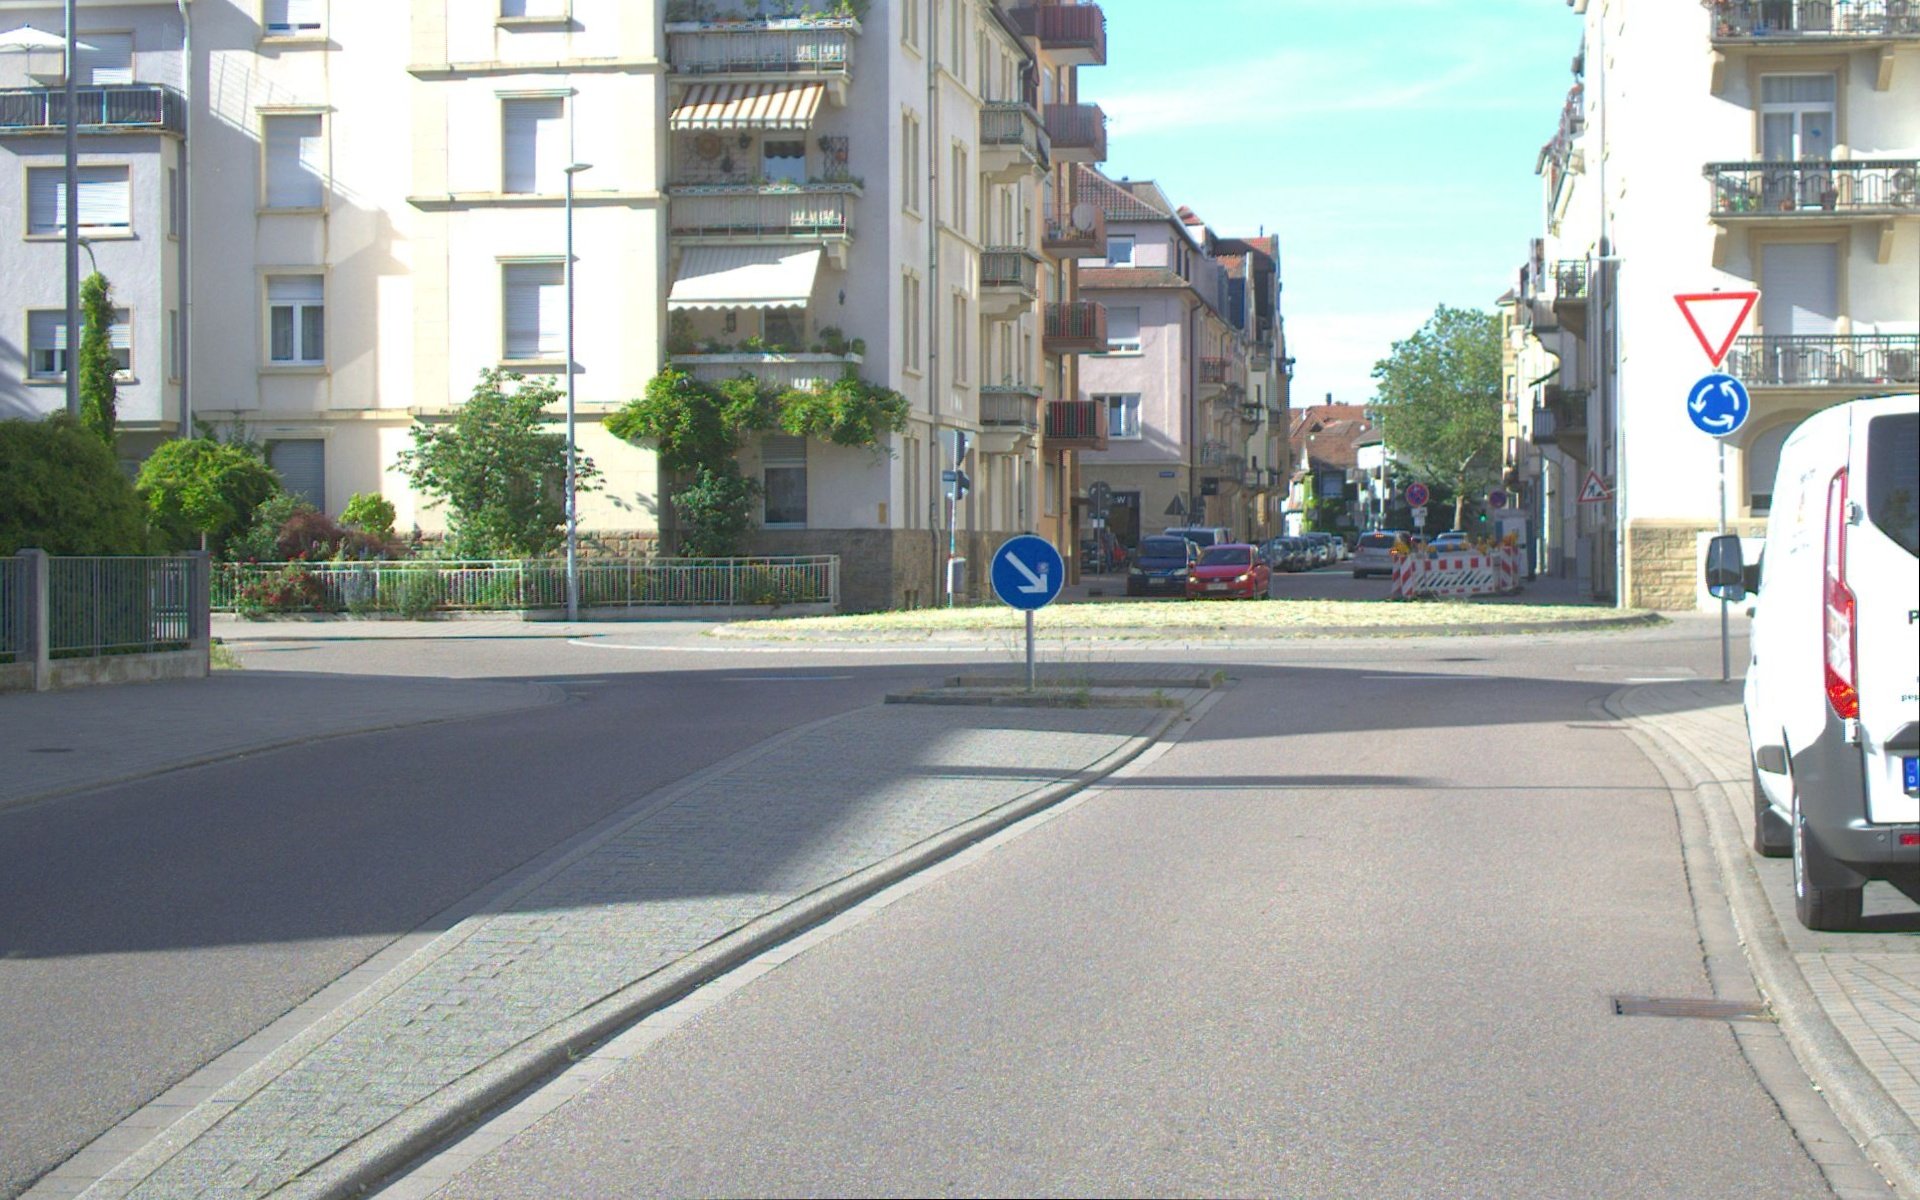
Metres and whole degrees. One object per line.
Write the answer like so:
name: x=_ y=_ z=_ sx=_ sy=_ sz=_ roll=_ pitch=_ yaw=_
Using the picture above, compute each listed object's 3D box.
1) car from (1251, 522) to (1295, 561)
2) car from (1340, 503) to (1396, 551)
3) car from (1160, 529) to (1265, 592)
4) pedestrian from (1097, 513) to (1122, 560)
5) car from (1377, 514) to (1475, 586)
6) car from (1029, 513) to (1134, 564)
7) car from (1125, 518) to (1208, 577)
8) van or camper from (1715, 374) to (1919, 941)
car: x=13.295 y=-2.501 z=146.070 sx=1.635 sy=1.650 sz=3.670 roll=0 pitch=1 yaw=9
car: x=14.897 y=-2.678 z=125.574 sx=1.994 sy=1.733 sz=3.999 roll=0 pitch=1 yaw=7
car: x=6.055 y=-0.924 z=82.027 sx=1.742 sy=1.349 sz=3.666 roll=-1 pitch=-1 yaw=17
pedestrian: x=5.513 y=-2.350 z=126.973 sx=0.800 sy=1.744 sz=0.844 roll=0 pitch=1 yaw=10
car: x=12.166 y=-1.326 z=89.481 sx=2.432 sy=1.805 sz=4.722 roll=0 pitch=1 yaw=9
car: x=4.894 y=-2.485 z=138.357 sx=3.903 sy=2.007 sz=1.762 roll=0 pitch=1 yaw=16
car: x=5.501 y=-1.406 z=91.325 sx=1.994 sy=1.527 sz=3.999 roll=0 pitch=1 yaw=6
van or camper: x=4.249 y=0.121 z=14.027 sx=2.021 sy=1.940 sz=4.701 roll=-2 pitch=1 yaw=10
